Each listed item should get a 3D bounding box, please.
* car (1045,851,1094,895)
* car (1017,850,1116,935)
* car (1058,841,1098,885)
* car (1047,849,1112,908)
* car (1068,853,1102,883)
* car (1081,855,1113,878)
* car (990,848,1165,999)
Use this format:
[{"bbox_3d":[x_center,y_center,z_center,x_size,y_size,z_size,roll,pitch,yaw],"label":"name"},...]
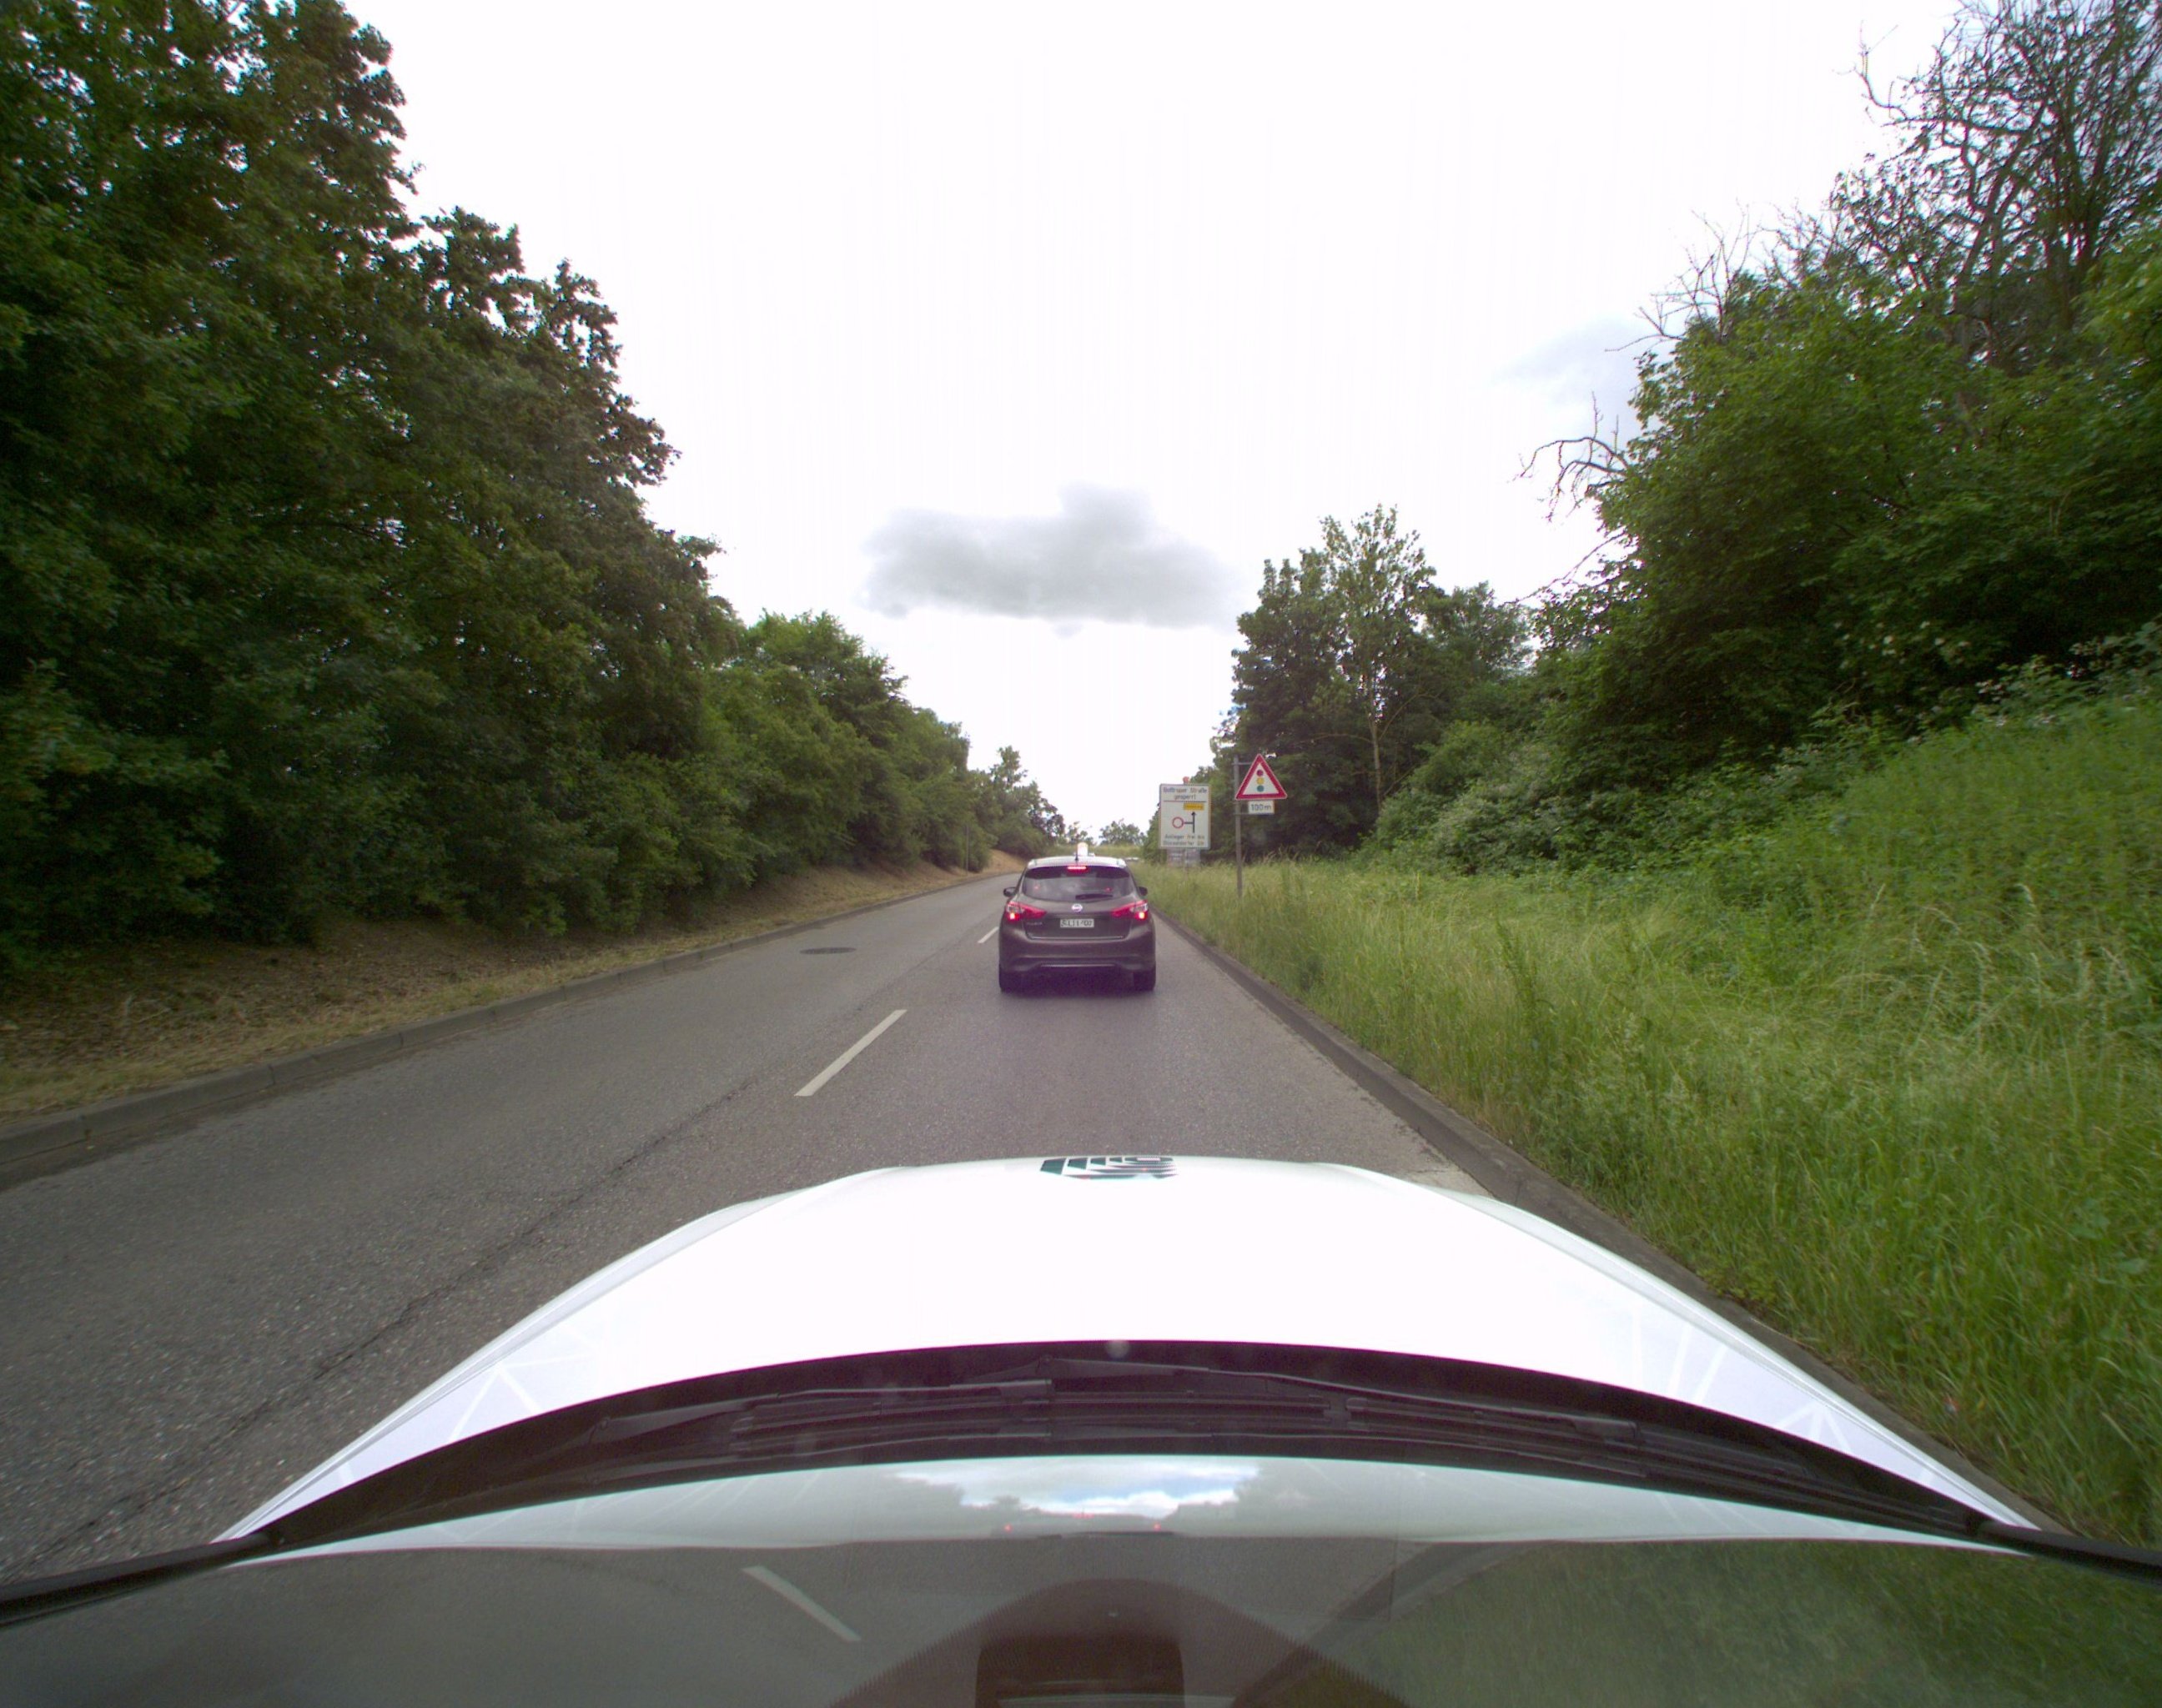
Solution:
[{"bbox_3d":[-0.385,0.683,31.549,1.730,1.556,3.544,-1,0,1],"label":"car"},{"bbox_3d":[-0.236,0.728,17.154,1.824,1.556,3.625,-1,0,1],"label":"car"},{"bbox_3d":[-0.082,0.408,38.662,1.729,1.935,3.544,-1,0,1],"label":"car"},{"bbox_3d":[-0.005,0.667,23.864,1.730,1.556,3.544,-1,0,1],"label":"car"},{"bbox_3d":[0.185,0.741,44.191,1.730,1.526,3.543,-1,0,0],"label":"car"},{"bbox_3d":[1.192,0.874,58.436,1.725,1.526,3.651,-1,0,10],"label":"car"},{"bbox_3d":[-0.060,0.722,10.282,1.825,1.556,3.498,-1,0,-1],"label":"car"}]
